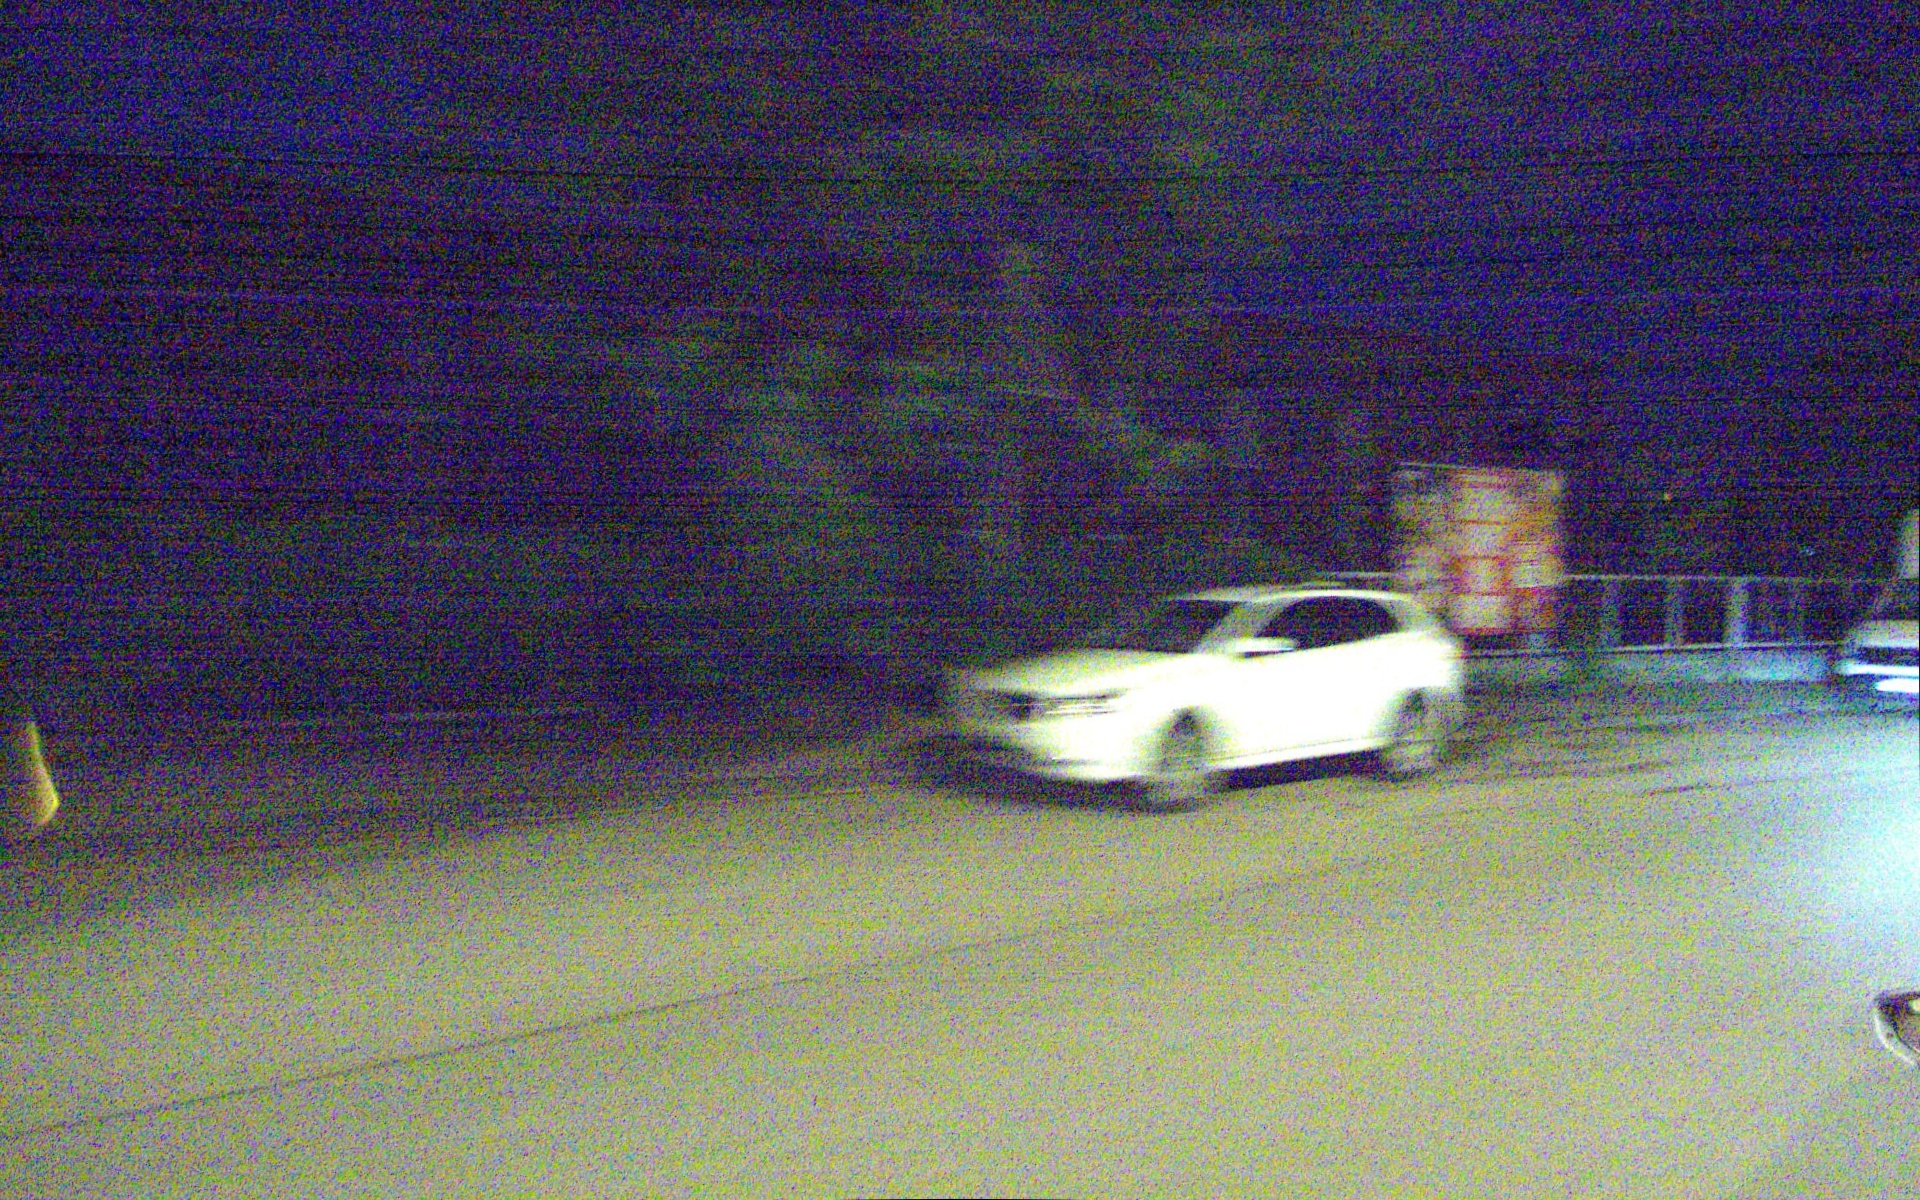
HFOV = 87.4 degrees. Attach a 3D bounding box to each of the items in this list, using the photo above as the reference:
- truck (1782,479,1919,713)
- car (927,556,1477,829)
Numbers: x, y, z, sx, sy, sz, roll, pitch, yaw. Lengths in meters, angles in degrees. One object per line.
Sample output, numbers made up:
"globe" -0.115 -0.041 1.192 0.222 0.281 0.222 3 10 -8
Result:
"truck" 16.752 -0.032 16.164 7.210 3.324 2.537 0 0 -24
"car" 2.205 0.628 8.694 4.640 1.795 1.983 0 0 -32
